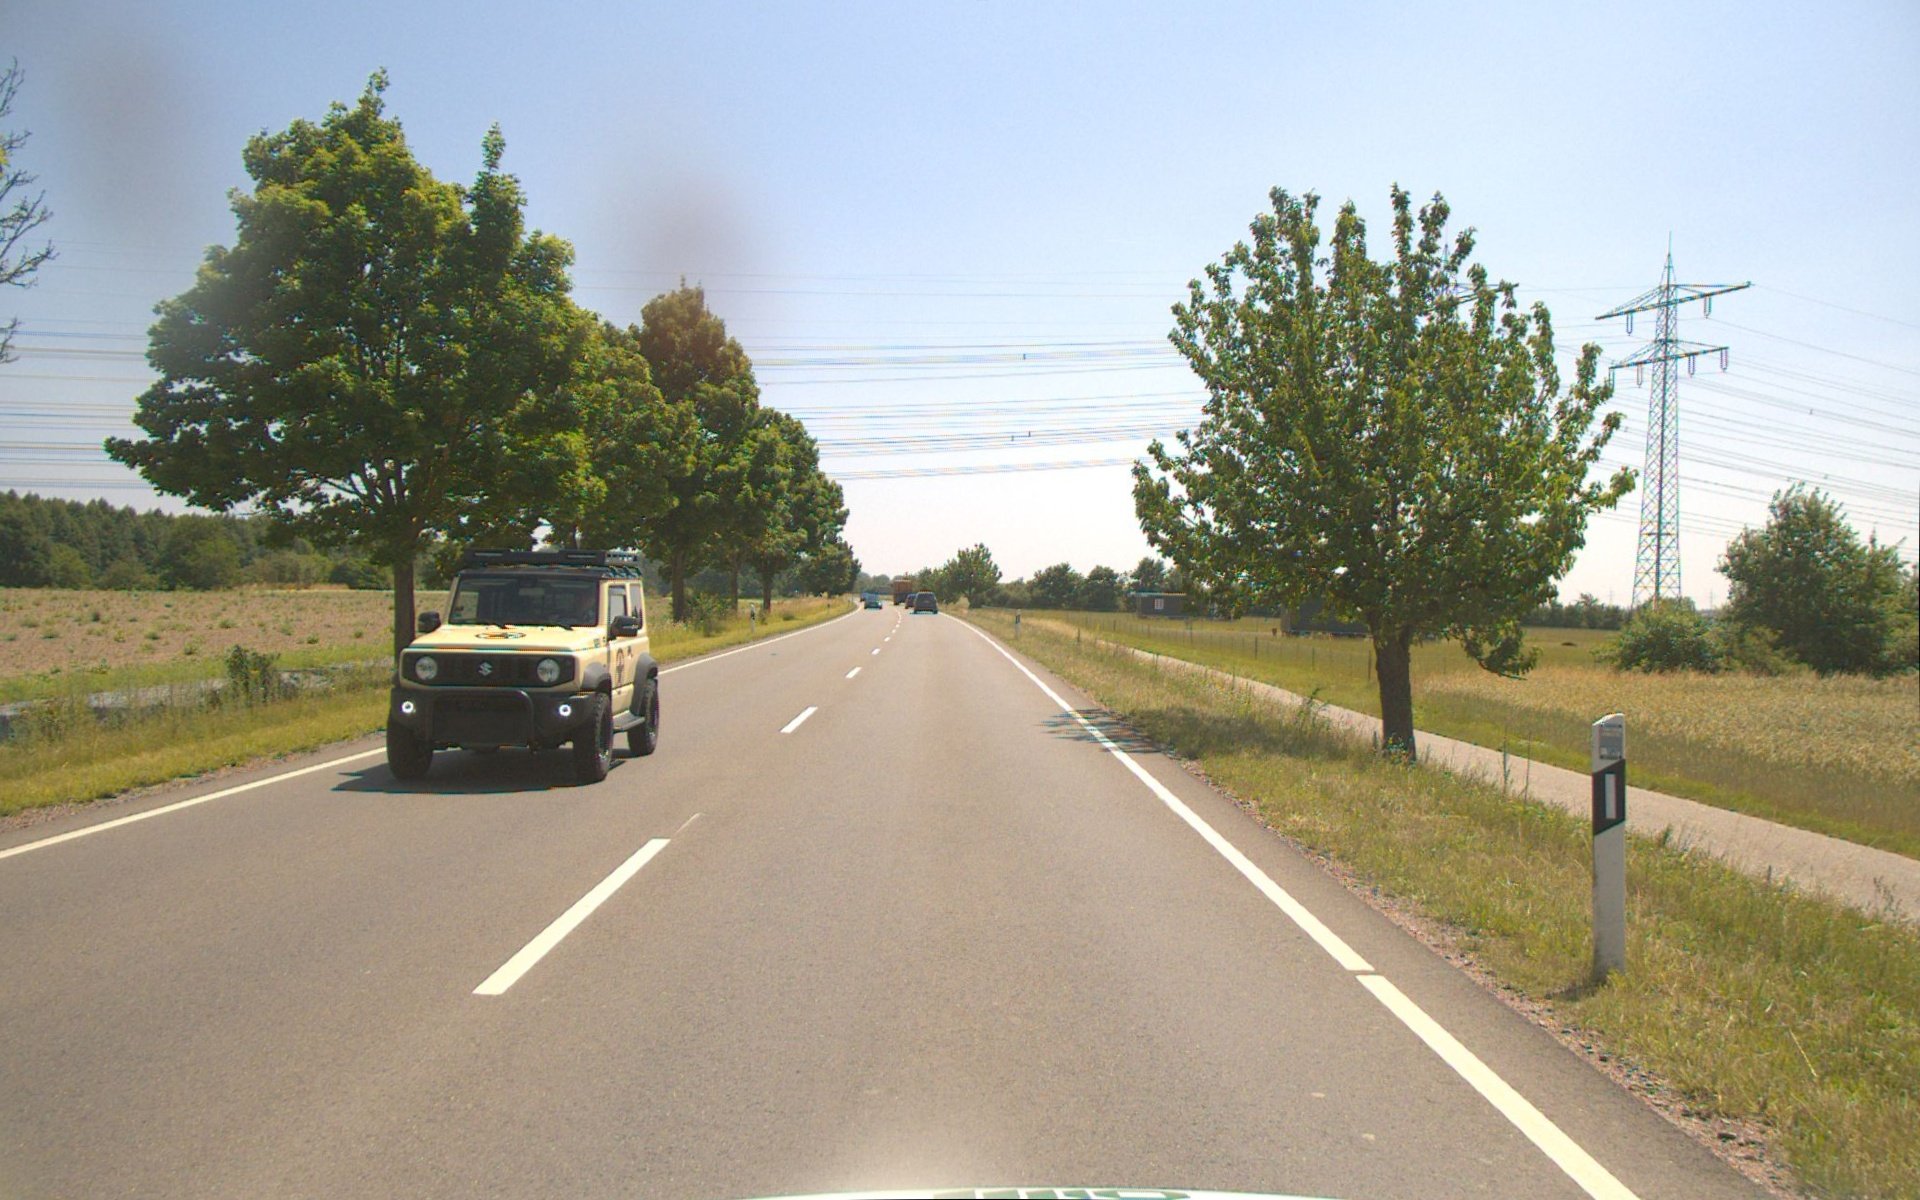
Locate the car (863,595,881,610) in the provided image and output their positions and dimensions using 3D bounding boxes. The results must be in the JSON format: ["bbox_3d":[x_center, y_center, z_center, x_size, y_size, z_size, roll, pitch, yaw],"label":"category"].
[{"bbox_3d":[-8.540,0.258,160.722,1.671,1.356,3.997,1,0,-4],"label":"car"}]

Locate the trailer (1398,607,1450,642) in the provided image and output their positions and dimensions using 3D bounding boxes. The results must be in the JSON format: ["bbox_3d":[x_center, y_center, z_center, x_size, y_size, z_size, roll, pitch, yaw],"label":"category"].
[{"bbox_3d":[36.069,1.889,128.572,3.340,2.505,2.036,2,0,-3],"label":"trailer"}]

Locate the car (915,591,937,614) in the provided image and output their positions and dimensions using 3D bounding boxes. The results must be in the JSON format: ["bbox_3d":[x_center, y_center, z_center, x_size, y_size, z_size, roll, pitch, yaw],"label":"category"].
[{"bbox_3d":[-2.715,0.189,130.364,1.680,1.723,3.987,1,0,-2],"label":"car"}]

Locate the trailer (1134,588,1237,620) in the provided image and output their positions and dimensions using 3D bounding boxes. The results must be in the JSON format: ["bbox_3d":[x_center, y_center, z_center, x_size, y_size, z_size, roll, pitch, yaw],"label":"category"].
[{"bbox_3d":[28.352,0.523,208.297,12.168,3.533,3.801,2,0,-5],"label":"trailer"}]

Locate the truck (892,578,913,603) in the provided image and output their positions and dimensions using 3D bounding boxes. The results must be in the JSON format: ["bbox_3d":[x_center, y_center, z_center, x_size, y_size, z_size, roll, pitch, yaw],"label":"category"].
[{"bbox_3d":[-7.483,-1.192,215.903,2.324,3.195,8.738,1,0,-5],"label":"truck"}]

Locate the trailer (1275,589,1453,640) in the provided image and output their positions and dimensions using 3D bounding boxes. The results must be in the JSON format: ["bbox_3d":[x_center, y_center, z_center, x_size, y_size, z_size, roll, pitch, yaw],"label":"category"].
[{"bbox_3d":[31.937,1.103,130.918,13.241,3.535,3.274,2,0,-4],"label":"trailer"}]

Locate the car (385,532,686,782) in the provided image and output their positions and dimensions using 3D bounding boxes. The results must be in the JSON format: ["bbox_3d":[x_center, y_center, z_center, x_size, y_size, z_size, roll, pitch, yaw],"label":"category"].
[{"bbox_3d":[-3.567,0.439,14.608,1.647,1.881,3.999,1,0,-1],"label":"car"}]

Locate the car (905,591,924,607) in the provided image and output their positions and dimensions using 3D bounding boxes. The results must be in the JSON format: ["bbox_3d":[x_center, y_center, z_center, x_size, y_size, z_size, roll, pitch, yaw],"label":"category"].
[{"bbox_3d":[-4.619,-0.065,167.401,1.814,1.549,3.997,1,0,-4],"label":"car"}]
